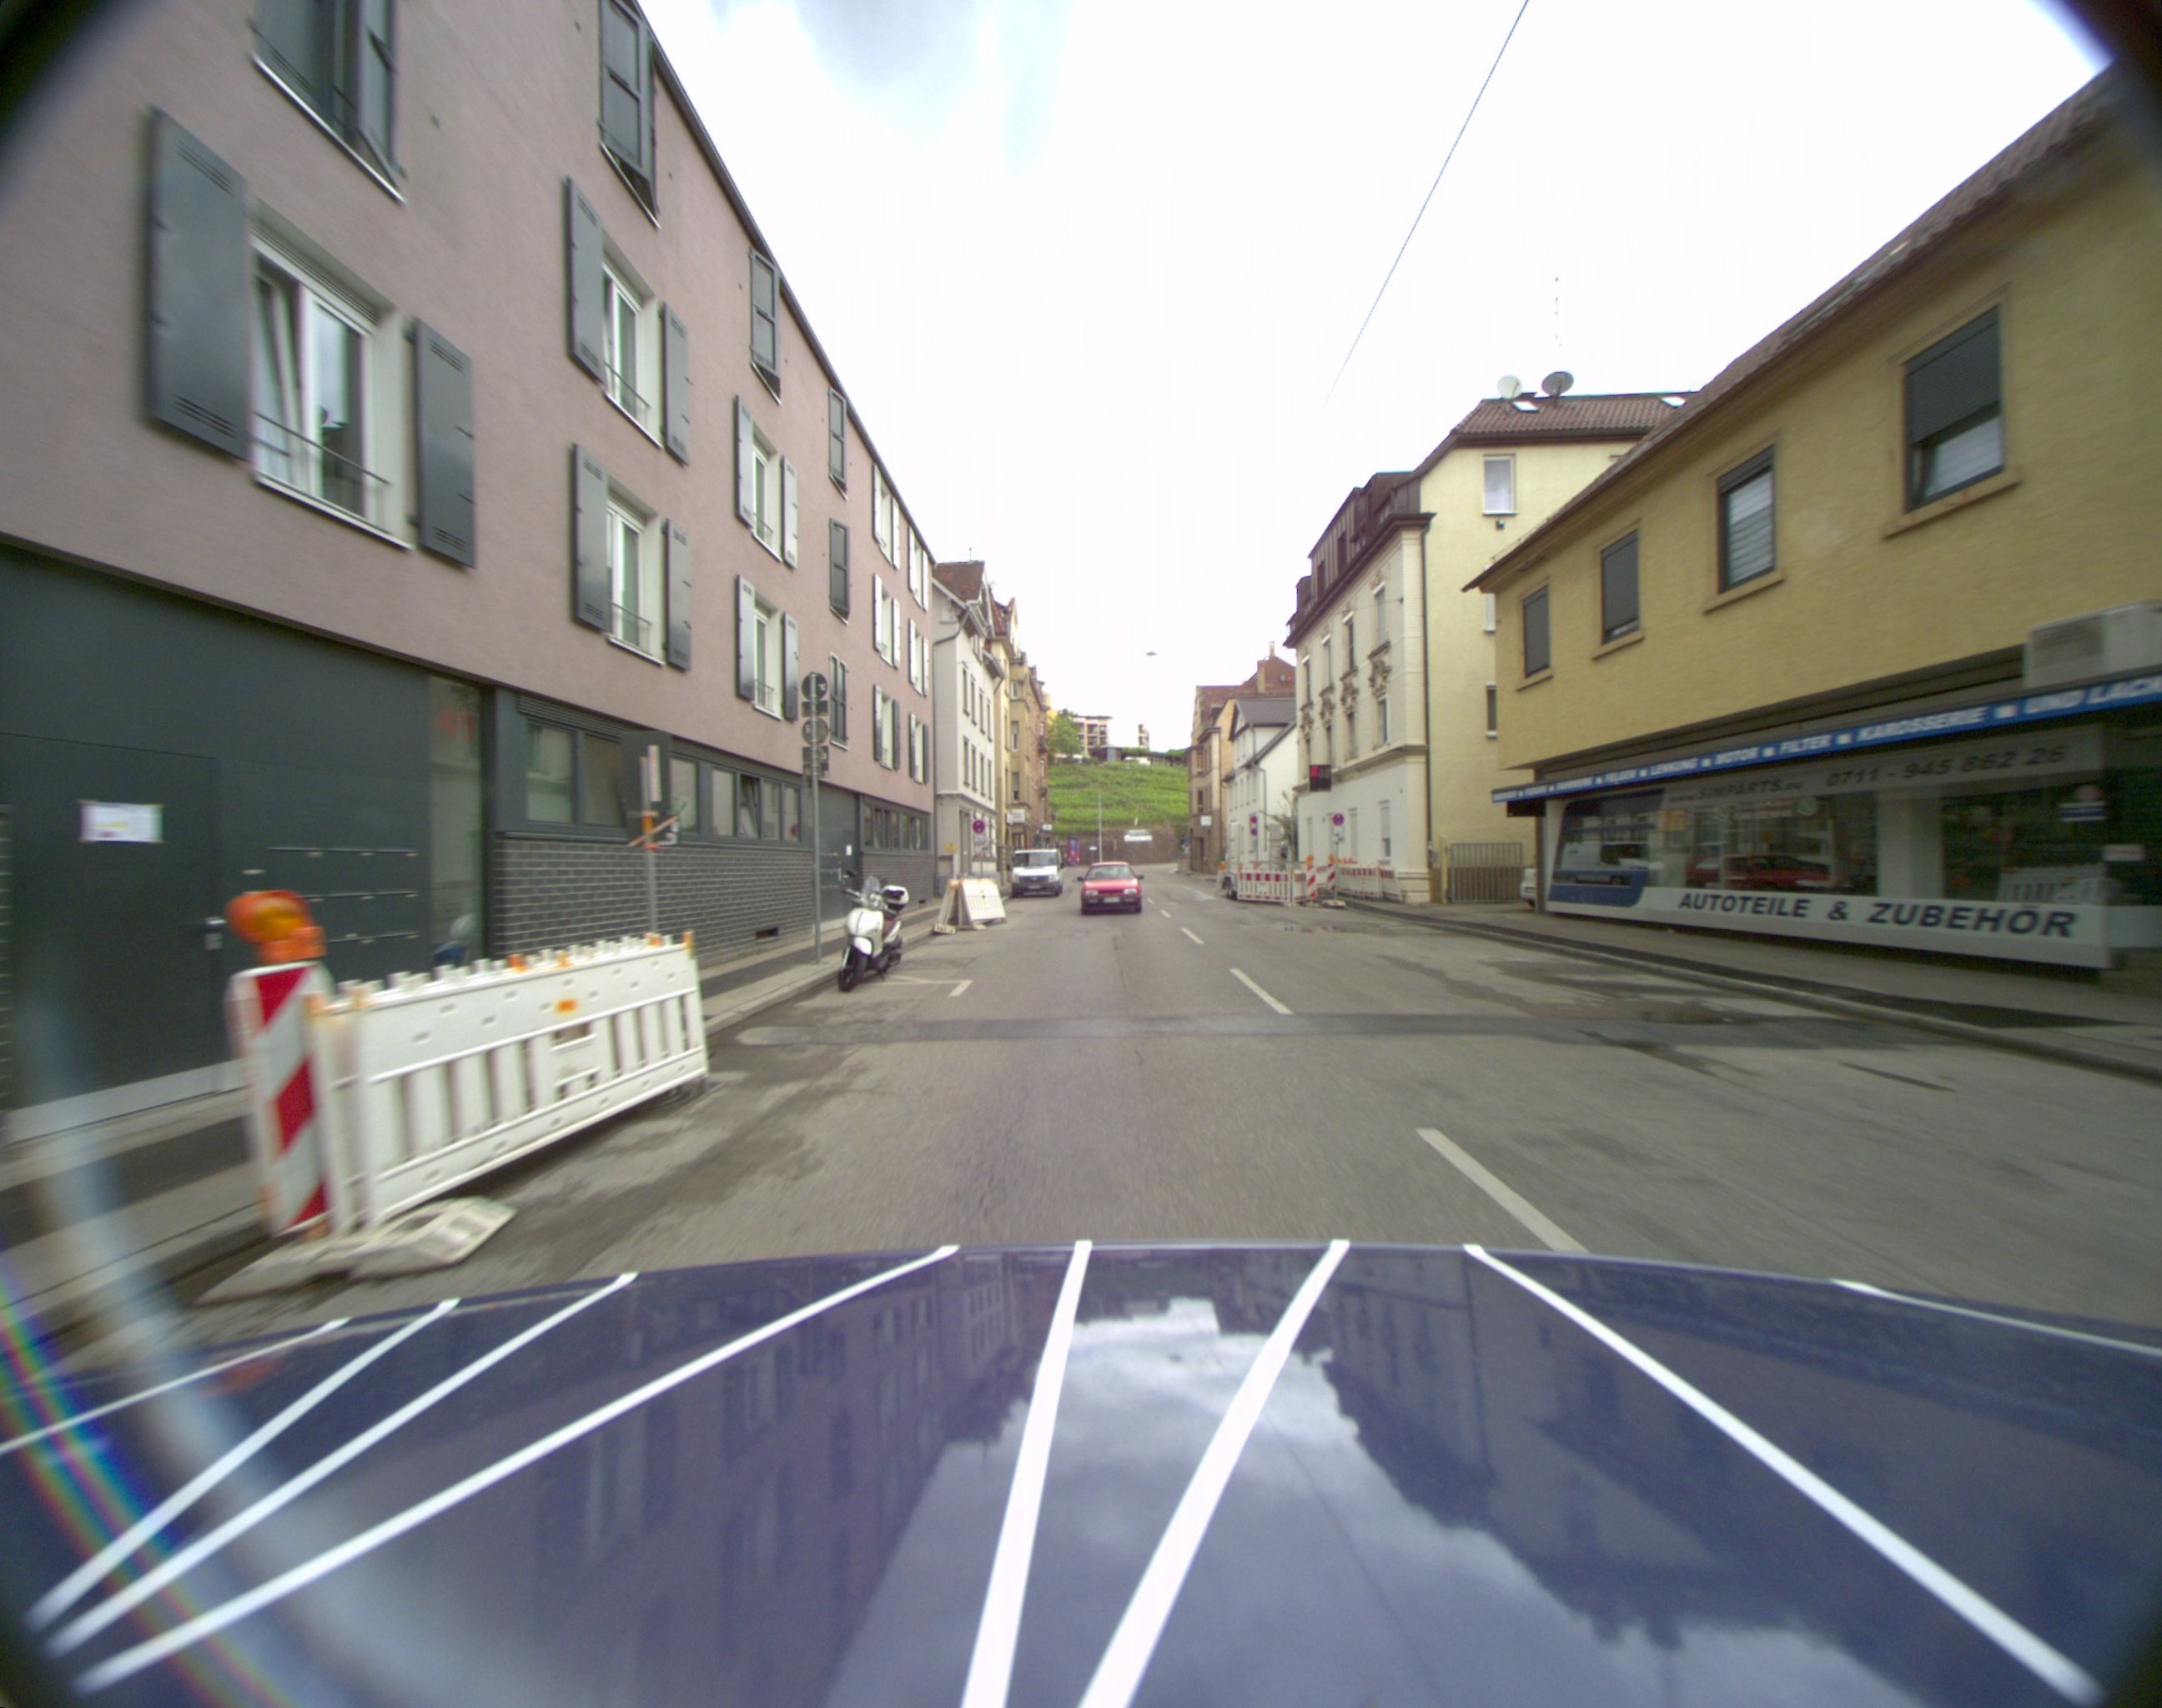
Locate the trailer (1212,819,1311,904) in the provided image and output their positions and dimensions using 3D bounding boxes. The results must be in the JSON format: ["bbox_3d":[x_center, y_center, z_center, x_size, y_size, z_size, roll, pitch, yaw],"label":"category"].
[{"bbox_3d":[6.485,0.244,28.136,2.450,2.788,6.304,0,0,3],"label":"trailer"}]

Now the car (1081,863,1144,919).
[{"bbox_3d":[0.941,1.003,22.064,1.626,1.387,4.001,-1,0,3],"label":"car"}]

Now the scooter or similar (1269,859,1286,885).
[{"bbox_3d":[10.295,0.923,39.770,0.561,1.283,1.228,-2,1,1],"label":"scooter or similar"}]

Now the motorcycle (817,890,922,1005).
[{"bbox_3d":[-2.748,1.169,10.170,0.648,1.219,2.337,-2,0,1],"label":"motorcycle"}]

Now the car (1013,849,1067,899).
[{"bbox_3d":[-1.688,0.778,32.808,1.998,1.970,4.878,-1,0,1],"label":"car"}]

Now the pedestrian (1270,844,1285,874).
[{"bbox_3d":[10.267,0.272,39.697,0.602,1.557,0.607,-2,1,1],"label":"pedestrian"}]

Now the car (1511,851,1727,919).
[{"bbox_3d":[12.838,0.707,18.288,3.997,1.477,1.725,-1,0,-2],"label":"car"}]
